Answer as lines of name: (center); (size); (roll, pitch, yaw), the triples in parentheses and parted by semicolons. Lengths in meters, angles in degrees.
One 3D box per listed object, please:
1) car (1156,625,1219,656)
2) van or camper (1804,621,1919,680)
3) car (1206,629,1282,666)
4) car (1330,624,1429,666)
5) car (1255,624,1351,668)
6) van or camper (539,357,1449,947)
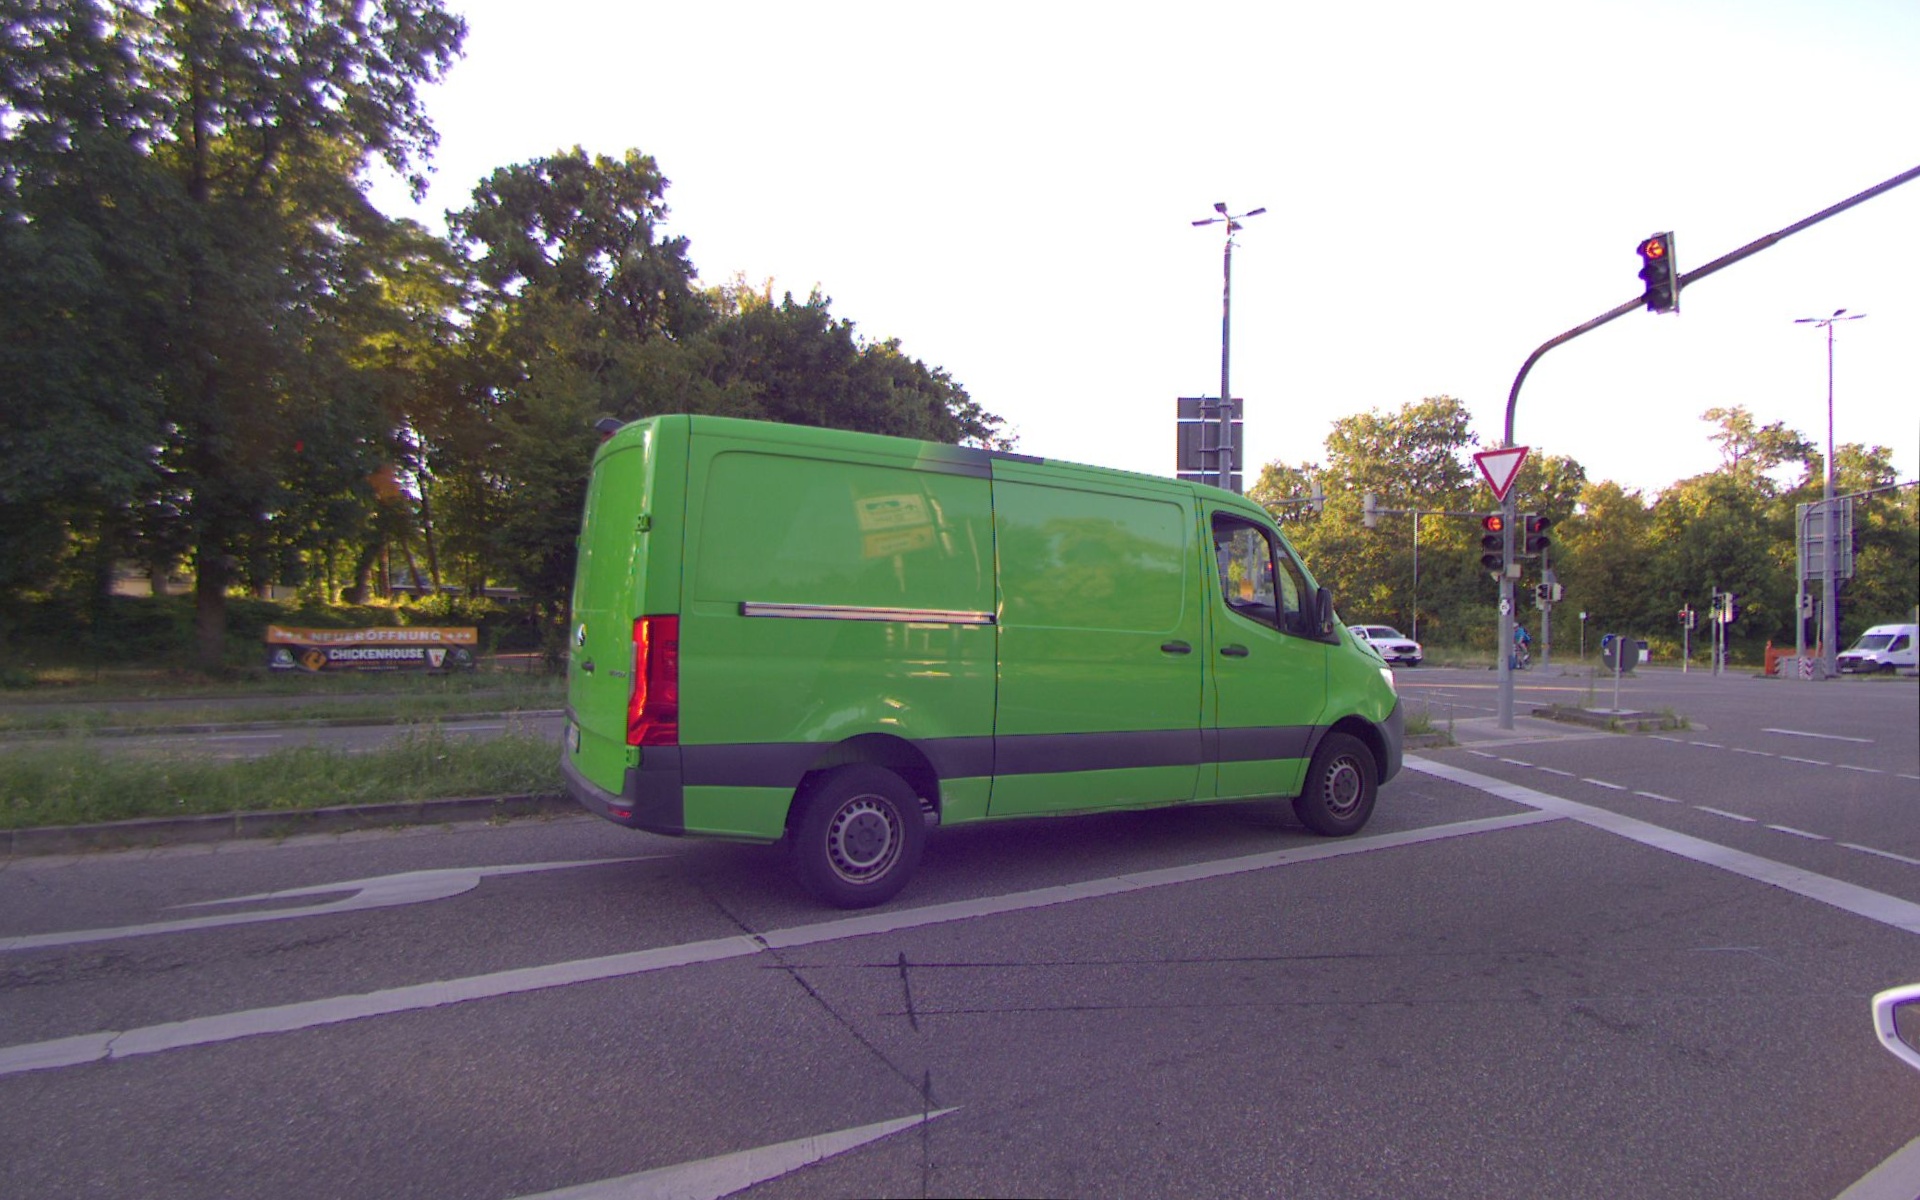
car: (12.685, 2.221, 56.199); (1.964, 1.661, 4.250); (1, -1, -10)
van or camper: (44.551, 2.391, 47.596); (6.986, 2.687, 2.893); (1, -1, -5)
car: (13.498, 2.231, 48.046); (1.963, 1.661, 4.252); (1, -1, -8)
car: (17.495, 1.853, 42.104); (1.963, 1.661, 4.252); (1, -1, -8)
car: (13.808, 1.818, 40.697); (1.963, 1.661, 4.252); (1, -1, -8)
van or camper: (0.539, 0.295, 6.563); (5.830, 2.453, 1.983); (2, -1, -32)
